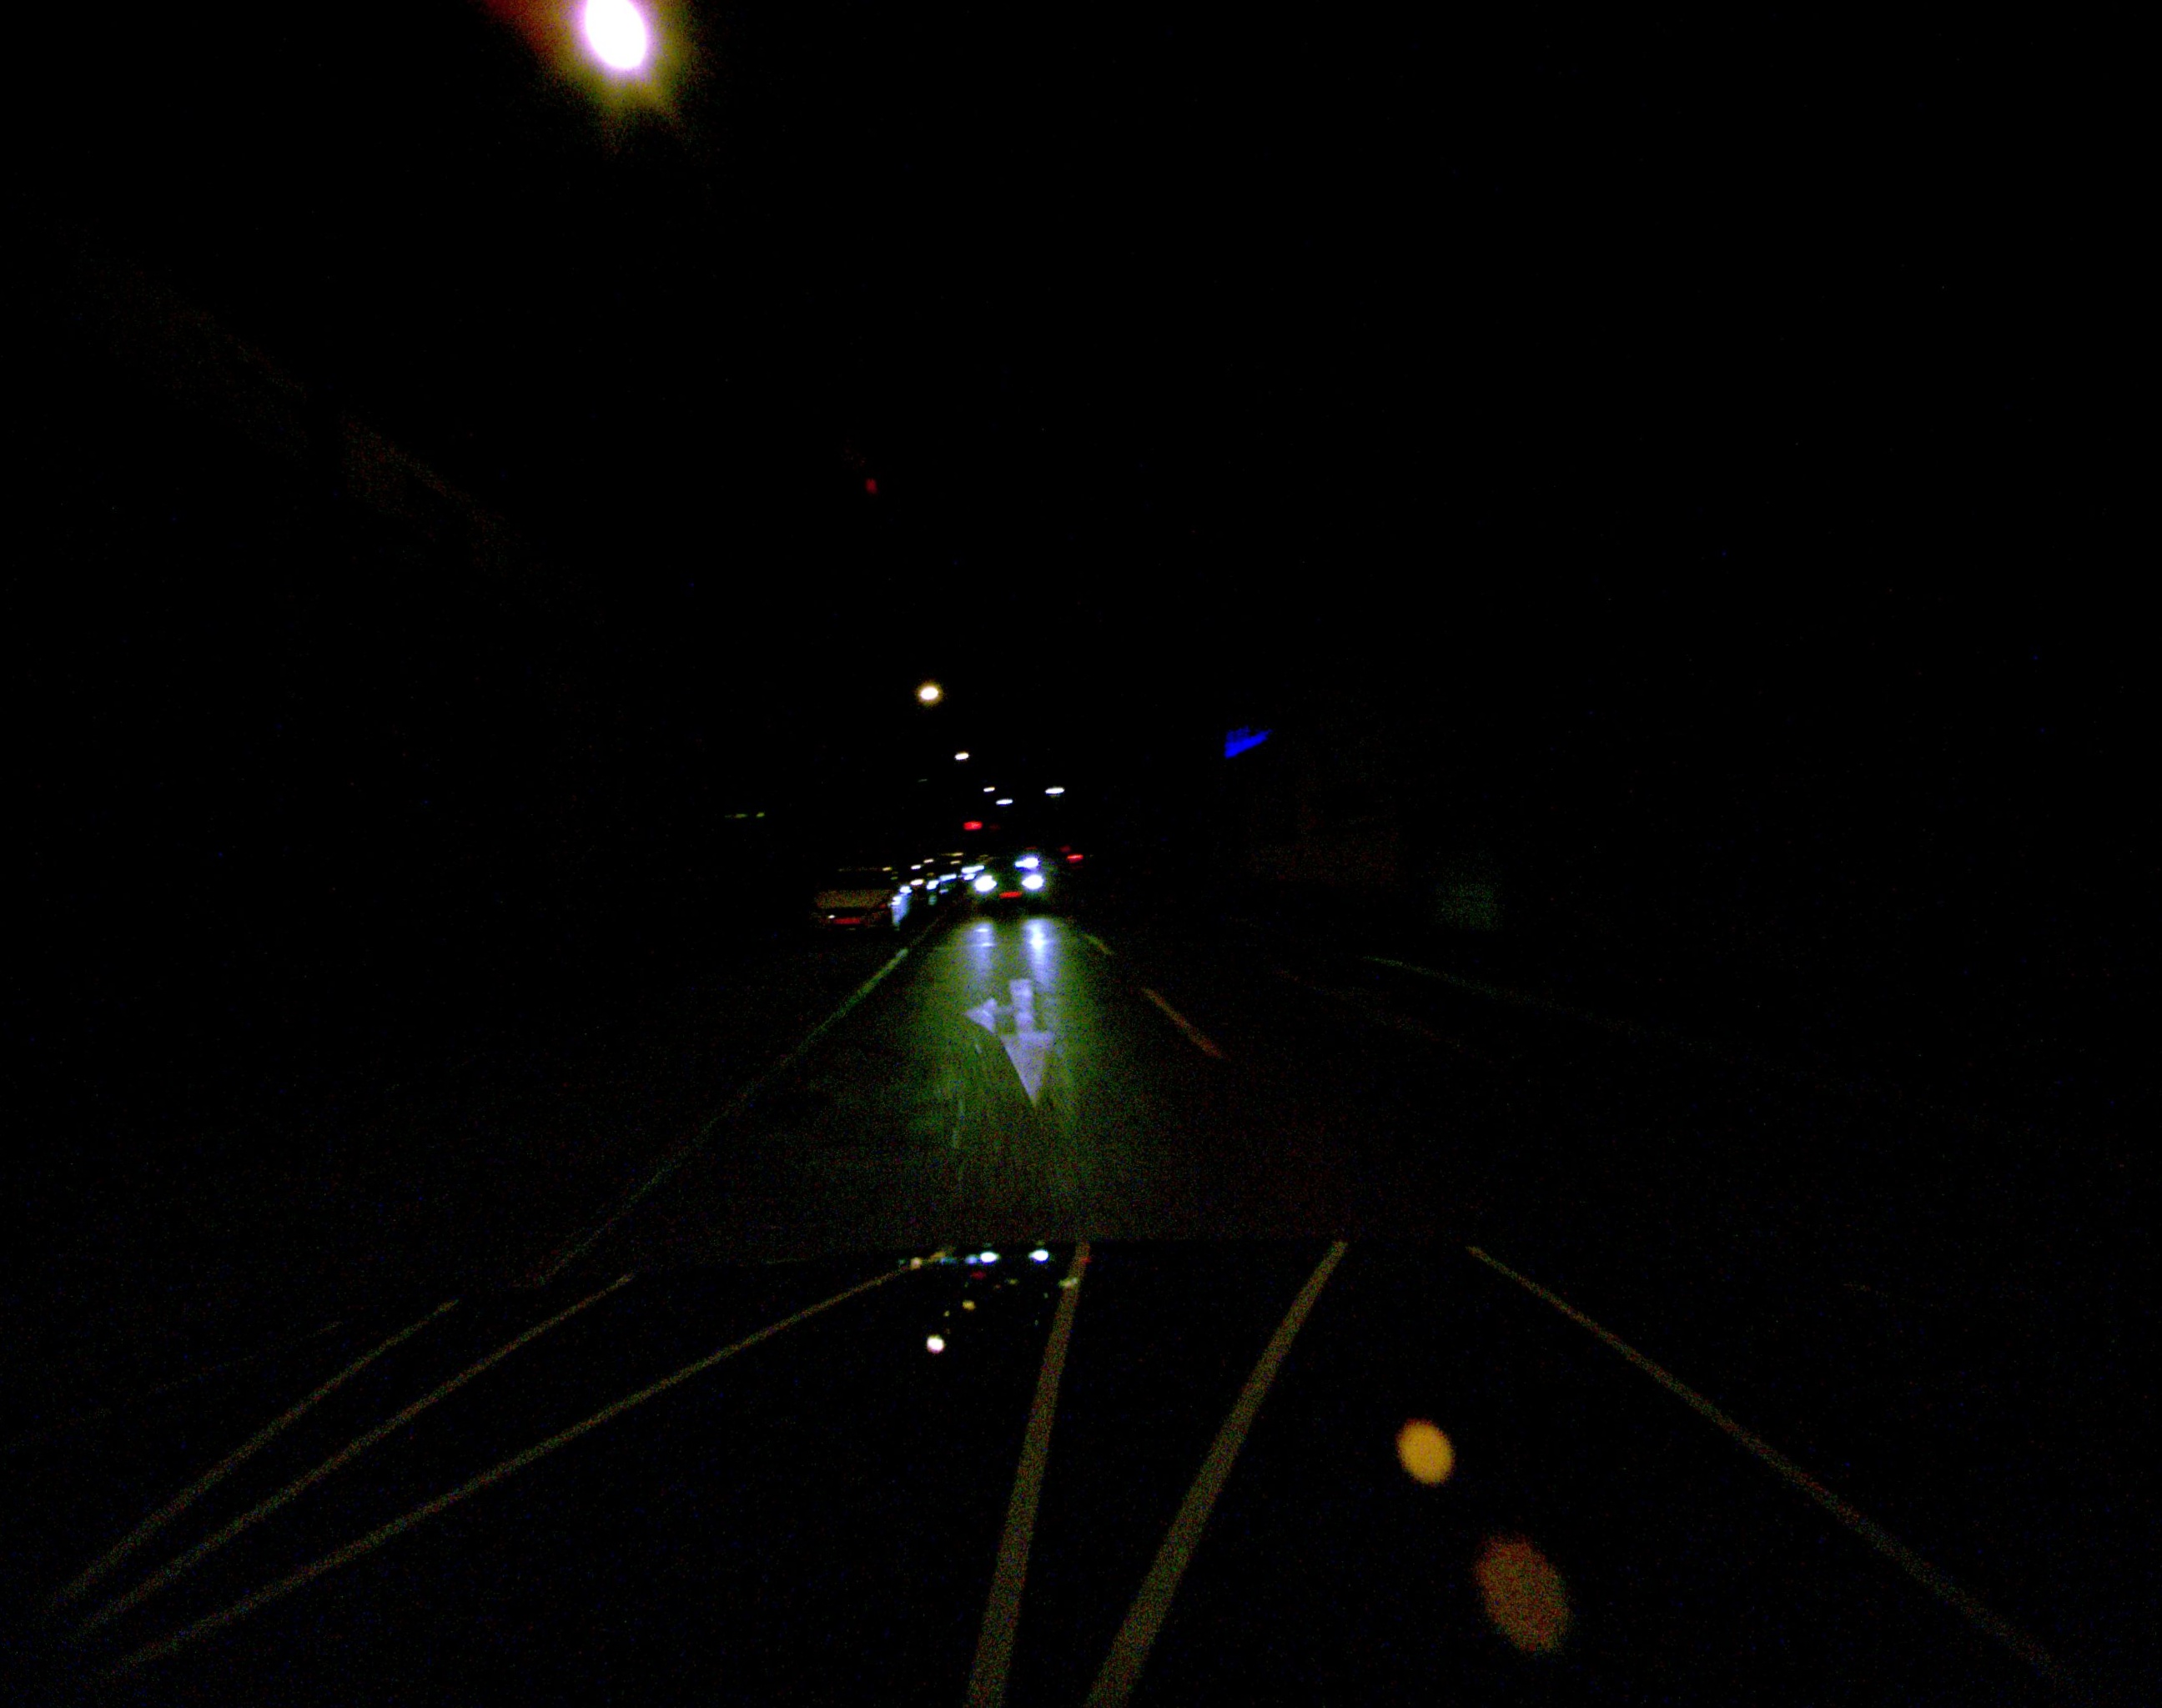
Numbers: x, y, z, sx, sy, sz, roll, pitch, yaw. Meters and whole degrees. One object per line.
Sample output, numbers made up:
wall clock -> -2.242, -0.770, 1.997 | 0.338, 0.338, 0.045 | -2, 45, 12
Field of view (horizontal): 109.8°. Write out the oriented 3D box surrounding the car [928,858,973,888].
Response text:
car -> -6.678, 0.927, 39.174 | 1.821, 1.419, 4.187 | -1, 0, -4

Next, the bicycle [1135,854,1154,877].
bicycle -> 3.113, 0.557, 37.447 | 0.621, 1.046, 1.721 | -2, 1, -4

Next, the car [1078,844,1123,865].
car -> 1.887, 0.036, 72.206 | 3.995, 1.878, 1.910 | -2, 1, 8

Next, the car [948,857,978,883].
car -> -7.683, 1.024, 49.617 | 1.599, 1.458, 3.889 | -2, 1, -5

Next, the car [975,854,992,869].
car -> -10.953, 0.846, 85.127 | 1.825, 1.590, 4.217 | 0, 1, -7

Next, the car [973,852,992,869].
car -> -11.708, 0.711, 90.600 | 2.078, 1.917, 5.367 | -1, 1, -5

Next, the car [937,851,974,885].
car -> -7.295, 0.777, 44.607 | 1.806, 1.864, 4.771 | 0, 0, -5

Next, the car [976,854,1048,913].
car -> -2.205, 0.835, 23.652 | 2.000, 1.607, 3.997 | -2, 0, -7

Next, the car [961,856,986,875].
car -> -9.174, 0.934, 65.245 | 1.784, 1.418, 4.478 | -2, 1, -4

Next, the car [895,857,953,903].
car -> -5.988, 0.935, 29.399 | 1.829, 1.613, 4.455 | -1, 0, -7

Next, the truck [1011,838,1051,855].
truck -> -12.165, -1.733, 183.552 | 9.344, 3.701, 2.001 | -2, 1, 11

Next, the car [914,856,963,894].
car -> -6.407, 0.903, 34.597 | 1.829, 1.579, 4.626 | -1, 0, -6

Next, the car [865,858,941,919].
car -> -5.373, 0.971, 23.445 | 1.780, 1.535, 4.543 | -2, 1, -7

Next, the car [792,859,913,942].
car -> -5.019, 0.936, 17.314 | 1.866, 1.480, 4.543 | -2, 1, -7
